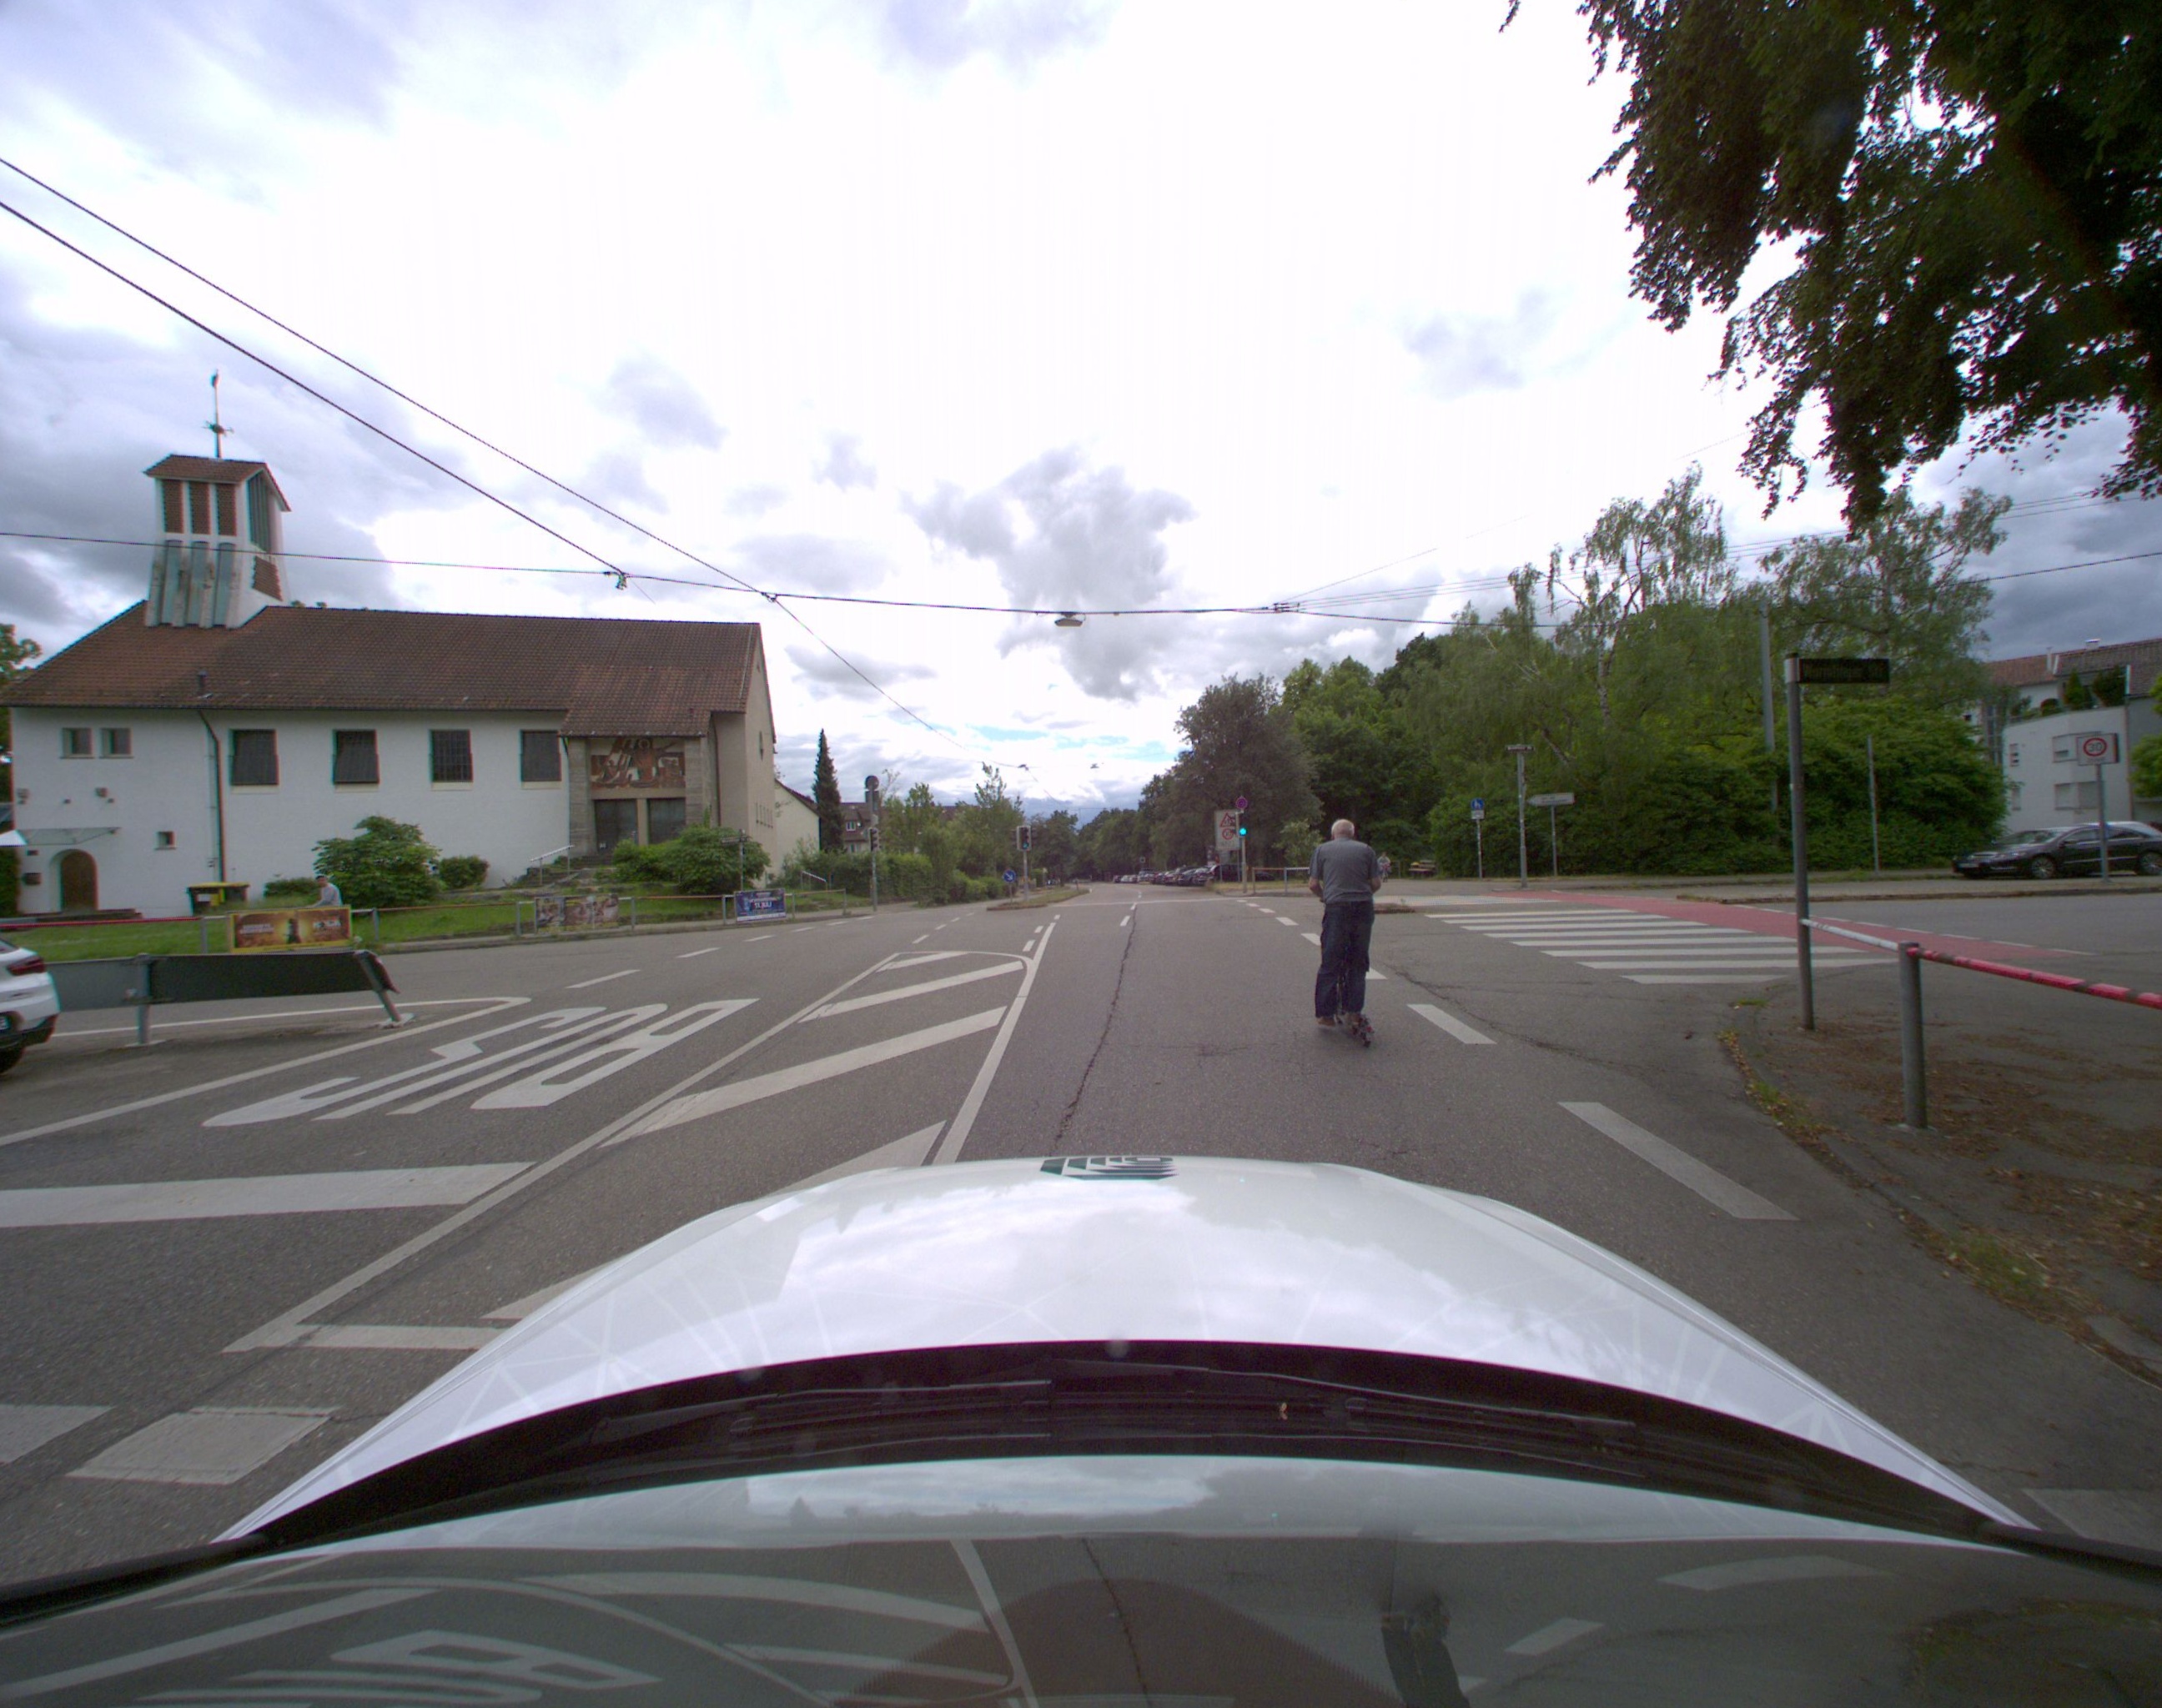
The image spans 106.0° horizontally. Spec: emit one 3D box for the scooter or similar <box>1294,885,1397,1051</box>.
[{"bbox_3d":[2.142,0.872,6.739,0.676,1.139,1.465,-2,0,14],"label":"scooter or similar"}]

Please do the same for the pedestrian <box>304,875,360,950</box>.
[{"bbox_3d":[-17.174,1.314,18.674,0.680,1.653,0.836,-2,-2,39],"label":"pedestrian"}]

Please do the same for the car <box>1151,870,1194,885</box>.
[{"bbox_3d":[9.806,2.495,87.292,4.350,1.445,1.626,-1,-2,-14],"label":"car"}]

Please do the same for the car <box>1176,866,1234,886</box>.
[{"bbox_3d":[9.791,1.718,64.325,4.160,1.407,1.691,-2,-3,-11],"label":"car"}]

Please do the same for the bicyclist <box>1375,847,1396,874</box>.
[{"bbox_3d":[13.436,0.291,35.983,0.636,1.162,0.804,-3,-1,4],"label":"bicyclist"}]

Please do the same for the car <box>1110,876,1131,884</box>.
[{"bbox_3d":[8.013,5.311,166.921,3.897,1.429,1.732,-1,-2,-19],"label":"car"}]

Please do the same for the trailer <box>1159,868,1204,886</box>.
[{"bbox_3d":[9.206,2.073,74.745,3.690,1.535,1.639,-1,-2,-11],"label":"trailer"}]

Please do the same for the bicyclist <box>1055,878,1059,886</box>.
[{"bbox_3d":[-4.922,5.784,168.517,0.842,1.698,0.713,-2,-1,-1],"label":"bicyclist"}]

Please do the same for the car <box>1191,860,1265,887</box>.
[{"bbox_3d":[8.933,1.203,49.581,4.136,1.476,1.570,-2,-2,-10],"label":"car"}]

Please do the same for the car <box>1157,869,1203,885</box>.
[{"bbox_3d":[9.319,2.209,76.968,4.035,1.328,1.554,-2,-3,-9],"label":"car"}]

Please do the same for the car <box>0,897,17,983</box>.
[{"bbox_3d":[-20.169,1.560,12.856,3.701,1.489,1.755,-3,0,-37],"label":"car"}]

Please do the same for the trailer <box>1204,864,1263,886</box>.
[{"bbox_3d":[9.847,1.364,52.644,3.401,1.267,1.611,-2,-3,-9],"label":"trailer"}]

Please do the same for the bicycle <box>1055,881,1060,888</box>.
[{"bbox_3d":[-4.895,6.334,168.422,0.842,1.266,2.651,-2,-1,-1],"label":"bicycle"}]

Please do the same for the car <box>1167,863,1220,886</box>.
[{"bbox_3d":[9.256,1.681,67.141,3.984,1.725,1.675,-2,-3,-9],"label":"car"}]

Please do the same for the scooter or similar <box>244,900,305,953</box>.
[{"bbox_3d":[-17.762,1.577,17.939,0.604,1.095,0.895,-2,-2,40],"label":"scooter or similar"}]

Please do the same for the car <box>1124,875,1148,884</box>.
[{"bbox_3d":[9.671,4.467,143.719,3.899,1.449,1.731,-1,-2,-21],"label":"car"}]

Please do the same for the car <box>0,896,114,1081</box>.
[{"bbox_3d":[-10.777,1.208,6.336,3.890,1.472,1.840,-3,0,-8],"label":"car"}]

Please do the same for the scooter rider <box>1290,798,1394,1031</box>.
[{"bbox_3d":[2.111,0.456,6.715,0.676,1.730,1.201,-2,0,14],"label":"scooter rider"}]

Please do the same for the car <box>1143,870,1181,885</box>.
[{"bbox_3d":[9.479,2.726,95.592,4.087,1.515,1.721,-2,-2,-22],"label":"car"}]

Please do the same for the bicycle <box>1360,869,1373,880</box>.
[{"bbox_3d":[13.359,0.951,38.136,0.514,0.497,0.993,-4,-3,17],"label":"bicycle"}]

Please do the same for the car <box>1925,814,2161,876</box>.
[{"bbox_3d":[26.584,-0.243,22.219,4.761,1.439,2.042,-2,-1,5],"label":"car"}]

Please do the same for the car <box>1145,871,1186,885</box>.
[{"bbox_3d":[9.621,2.739,92.745,4.318,1.341,1.725,-2,-2,-14],"label":"car"}]

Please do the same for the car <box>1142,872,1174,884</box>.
[{"bbox_3d":[10.433,3.277,110.938,3.971,1.406,1.748,-1,-2,-15],"label":"car"}]

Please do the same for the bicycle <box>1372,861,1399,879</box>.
[{"bbox_3d":[13.451,0.708,36.004,0.636,0.758,1.683,-3,-1,5],"label":"bicycle"}]

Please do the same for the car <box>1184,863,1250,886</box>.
[{"bbox_3d":[9.597,1.448,57.593,4.217,1.464,1.630,-2,-2,-9],"label":"car"}]

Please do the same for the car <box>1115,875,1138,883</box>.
[{"bbox_3d":[8.781,4.870,156.935,3.897,1.429,1.732,-1,-2,-19],"label":"car"}]

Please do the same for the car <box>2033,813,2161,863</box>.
[{"bbox_3d":[34.178,-0.500,27.150,1.785,1.487,3.691,-3,-1,26],"label":"car"}]

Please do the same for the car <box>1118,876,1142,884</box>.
[{"bbox_3d":[8.952,4.703,148.431,3.902,1.310,1.729,-1,-2,-24],"label":"car"}]

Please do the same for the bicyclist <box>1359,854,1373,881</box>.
[{"bbox_3d":[13.349,0.645,38.147,0.514,1.187,0.972,-4,-3,17],"label":"bicyclist"}]

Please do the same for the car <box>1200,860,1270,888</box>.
[{"bbox_3d":[8.876,1.144,47.187,3.706,1.476,1.575,-2,-1,-2],"label":"car"}]
